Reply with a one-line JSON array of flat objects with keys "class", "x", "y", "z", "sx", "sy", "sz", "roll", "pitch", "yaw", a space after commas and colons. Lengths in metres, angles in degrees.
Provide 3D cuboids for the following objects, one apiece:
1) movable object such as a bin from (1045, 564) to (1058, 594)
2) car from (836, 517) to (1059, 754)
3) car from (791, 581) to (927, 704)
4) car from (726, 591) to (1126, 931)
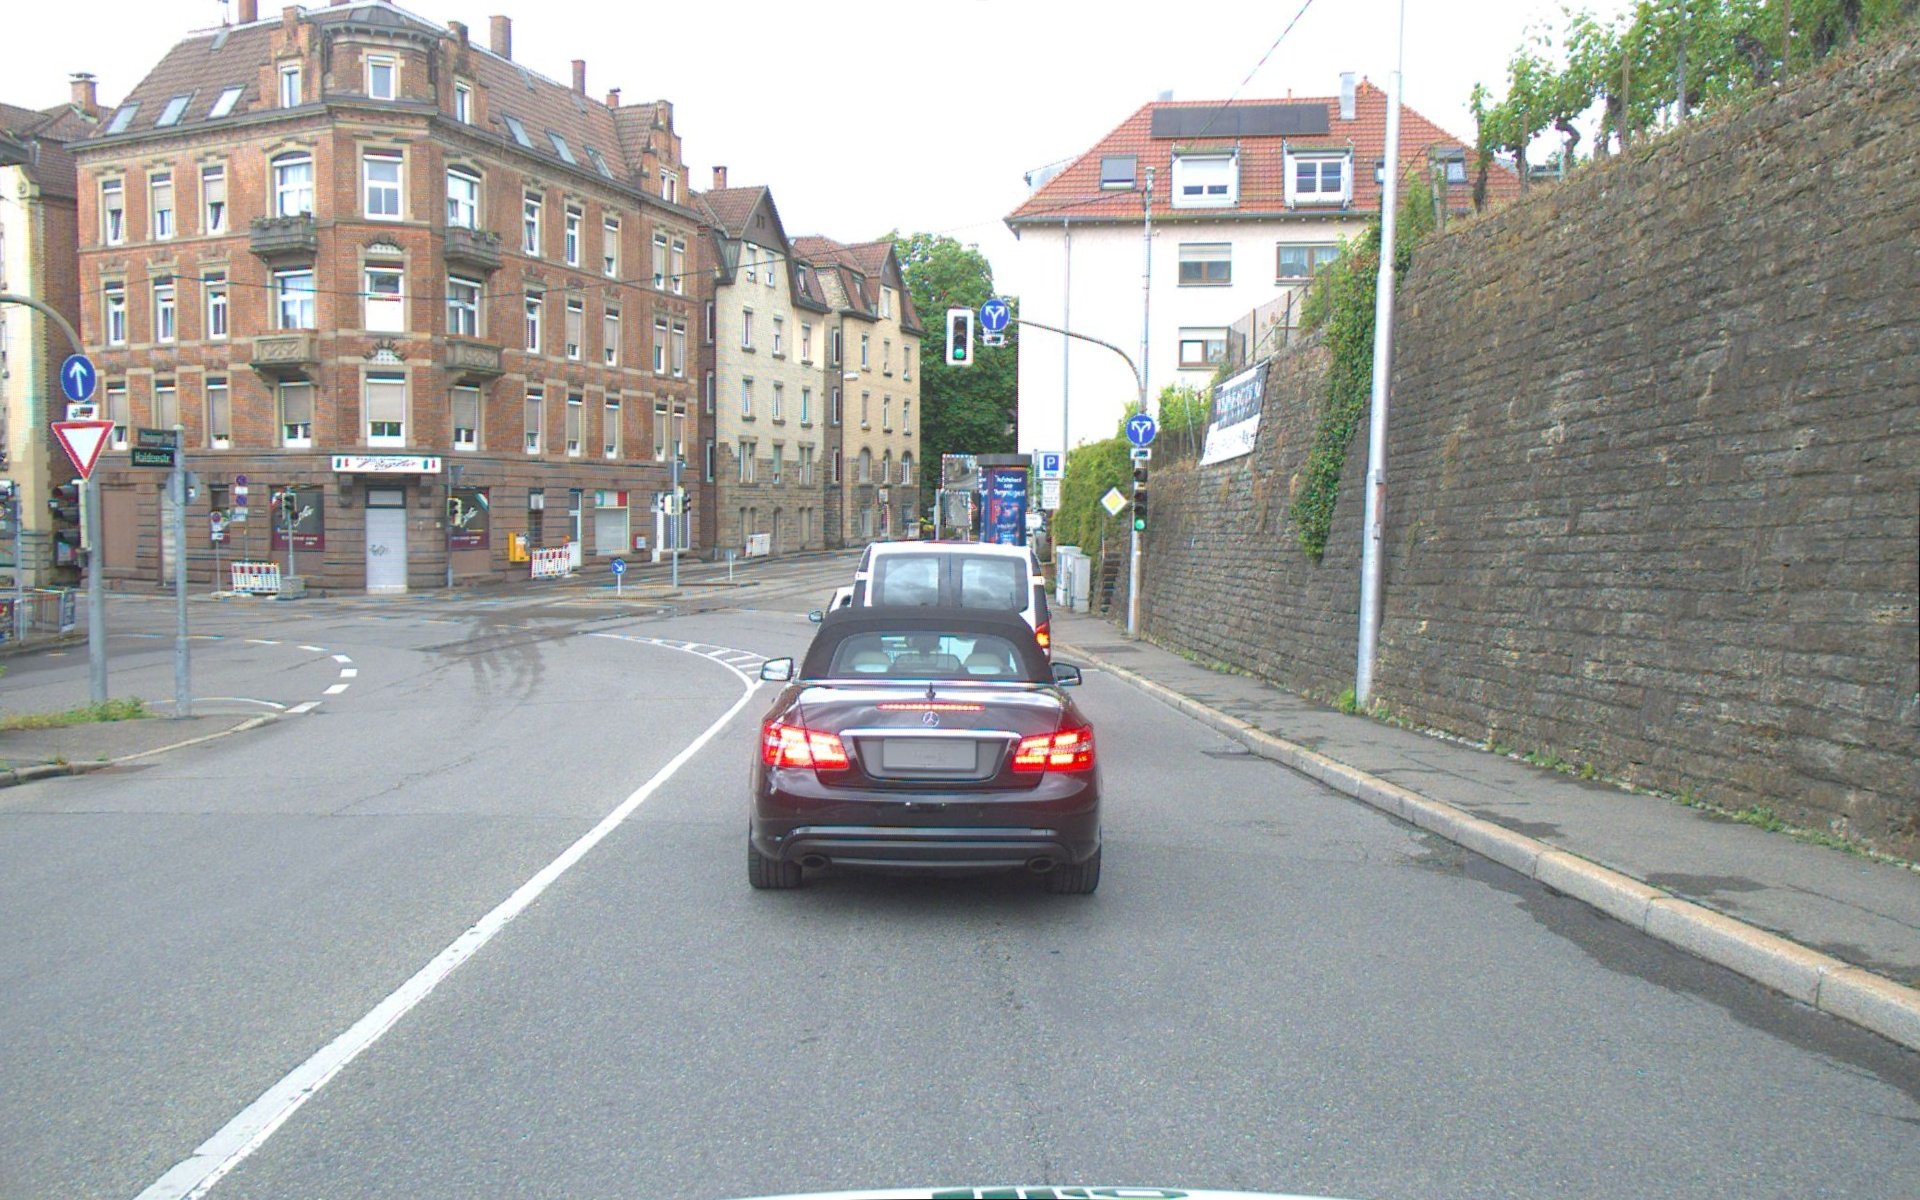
[{"class": "movable object such as a bin", "x": 2.876, "y": -0.665, "z": 52.016, "sx": 0.337, "sy": 0.927, "sz": 0.494, "roll": 0, "pitch": 1, "yaw": -7}, {"class": "car", "x": -0.141, "y": 0.268, "z": 16.184, "sx": 1.853, "sy": 1.962, "sz": 4.644, "roll": 1, "pitch": 1, "yaw": -1}, {"class": "car", "x": -1.283, "y": 0.501, "z": 22.321, "sx": 1.647, "sy": 1.491, "sz": 3.918, "roll": 1, "pitch": 1, "yaw": -1}, {"class": "car", "x": -0.179, "y": 0.689, "z": 9.390, "sx": 1.726, "sy": 1.434, "sz": 4.398, "roll": 1, "pitch": 1, "yaw": -1}]
